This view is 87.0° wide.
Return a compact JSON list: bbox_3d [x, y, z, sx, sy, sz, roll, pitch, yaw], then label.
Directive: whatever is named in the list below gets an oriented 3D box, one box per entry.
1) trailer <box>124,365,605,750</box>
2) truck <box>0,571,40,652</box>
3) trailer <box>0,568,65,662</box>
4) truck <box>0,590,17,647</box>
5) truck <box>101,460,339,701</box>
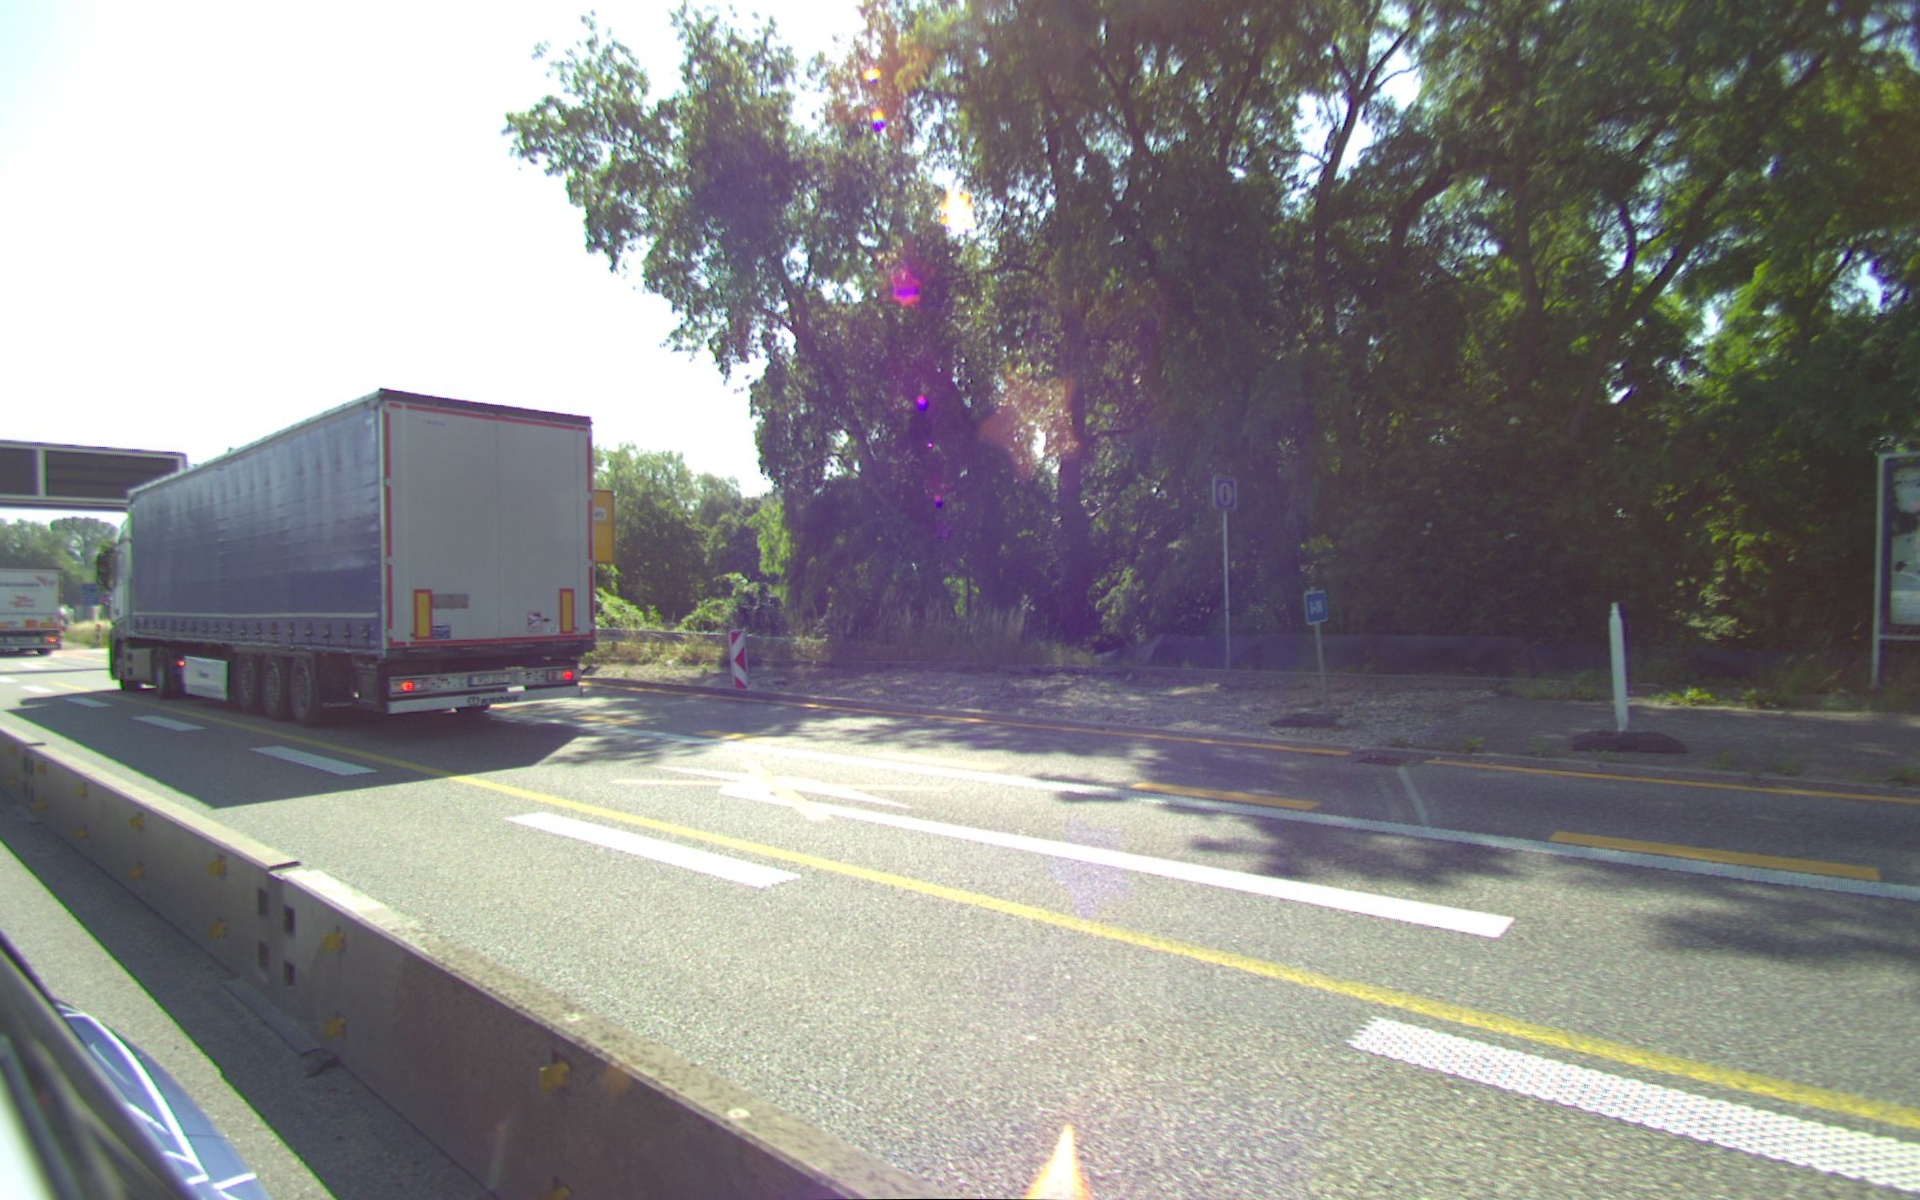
[{"bbox_3d":[-10.650,-0.384,16.596,14.062,4.159,2.593,-1,0,42],"label":"trailer"},{"bbox_3d":[-51.763,0.626,54.242,7.643,4.136,3.012,-1,-1,43],"label":"truck"},{"bbox_3d":[-46.200,0.725,49.113,12.340,4.136,3.012,-1,0,43],"label":"trailer"},{"bbox_3d":[-72.633,1.382,75.298,8.711,4.136,3.012,-1,-1,43],"label":"truck"},{"bbox_3d":[-15.214,-0.310,20.612,6.504,4.159,2.593,-1,-1,41],"label":"truck"}]
